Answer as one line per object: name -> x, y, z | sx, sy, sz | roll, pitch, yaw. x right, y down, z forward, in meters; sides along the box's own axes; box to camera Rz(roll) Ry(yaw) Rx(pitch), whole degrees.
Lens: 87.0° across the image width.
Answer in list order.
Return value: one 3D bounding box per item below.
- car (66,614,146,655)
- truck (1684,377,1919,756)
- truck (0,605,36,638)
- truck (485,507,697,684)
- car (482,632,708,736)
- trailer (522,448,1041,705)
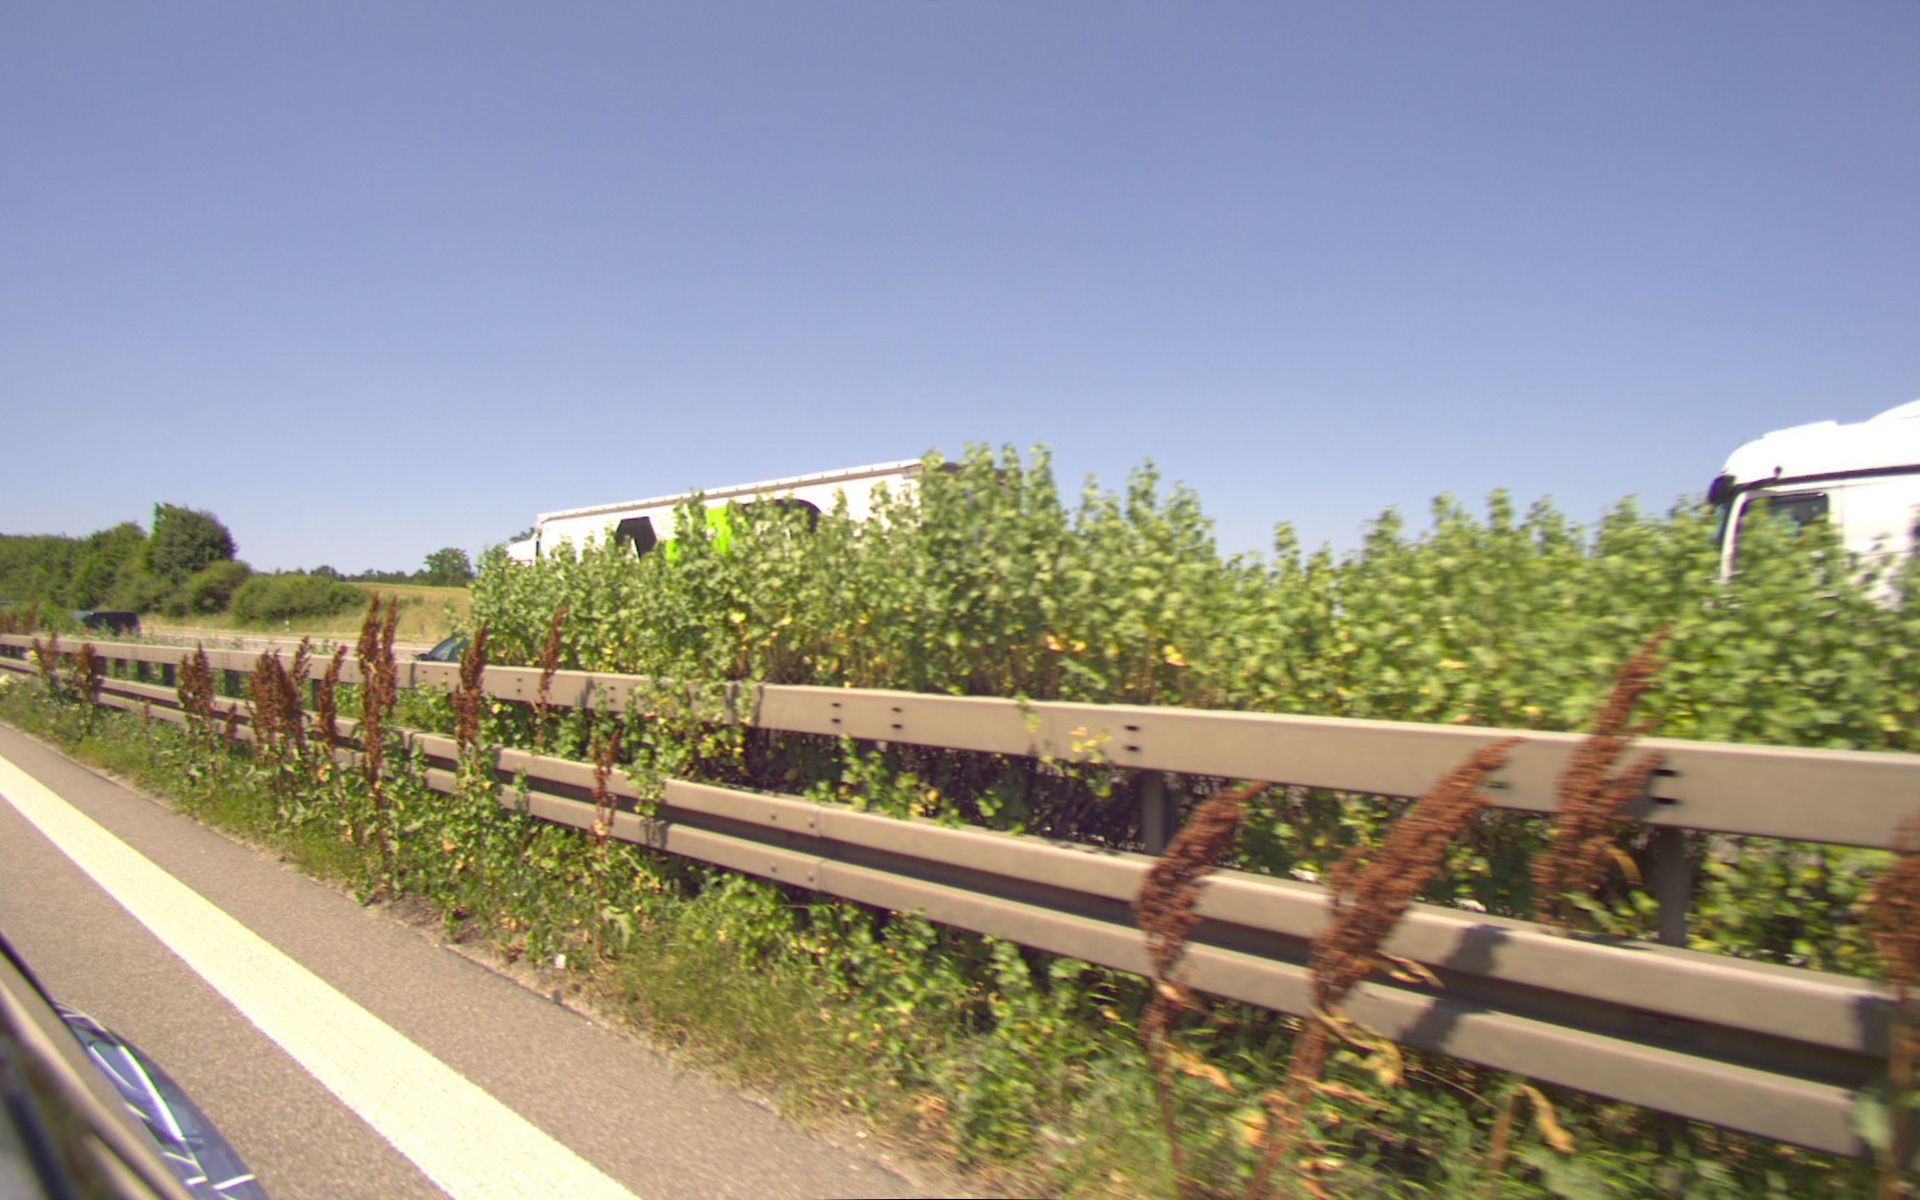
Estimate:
car -> -35.482, 1.420, 42.027 | 4.220, 1.600, 1.895 | -2, -1, 41
truck -> 12.028, -0.402, 11.659 | 5.620, 4.140, 2.979 | -2, -1, 42
truck -> -75.541, 1.713, 80.704 | 5.559, 2.506, 1.999 | -1, -1, 40
truck -> -9.782, -0.058, 26.666 | 5.225, 4.140, 3.142 | -2, -1, 42
car -> -5.537, 1.168, 15.147 | 3.768, 1.312, 1.612 | -2, -1, 42
trailer -> -4.805, -0.216, 22.063 | 14.039, 4.107, 3.159 | -2, -1, 42
